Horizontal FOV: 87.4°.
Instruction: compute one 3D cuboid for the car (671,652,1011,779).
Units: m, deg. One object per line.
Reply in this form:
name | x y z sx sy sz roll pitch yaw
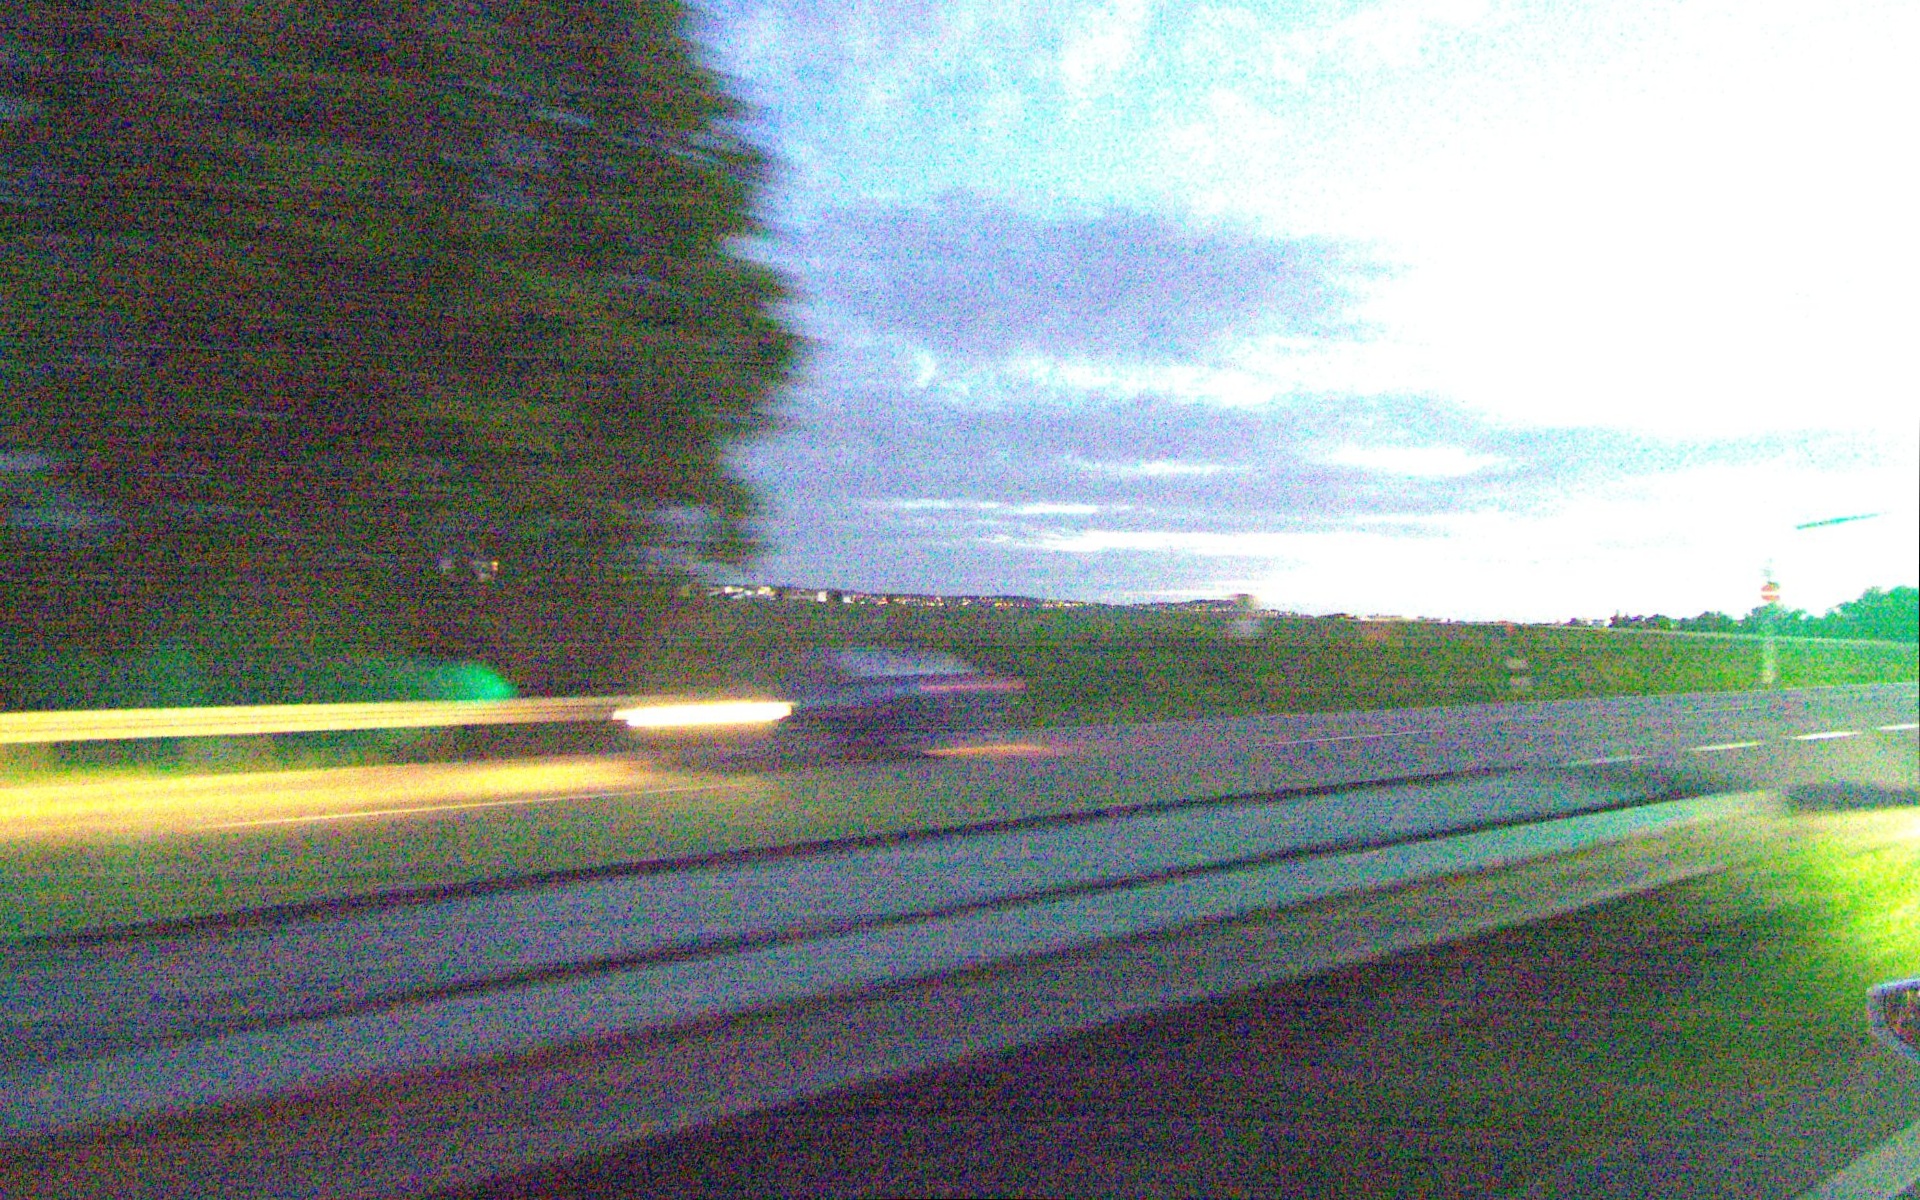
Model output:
car | -1.407 1.327 12.445 3.895 1.347 1.597 2 -3 -32
